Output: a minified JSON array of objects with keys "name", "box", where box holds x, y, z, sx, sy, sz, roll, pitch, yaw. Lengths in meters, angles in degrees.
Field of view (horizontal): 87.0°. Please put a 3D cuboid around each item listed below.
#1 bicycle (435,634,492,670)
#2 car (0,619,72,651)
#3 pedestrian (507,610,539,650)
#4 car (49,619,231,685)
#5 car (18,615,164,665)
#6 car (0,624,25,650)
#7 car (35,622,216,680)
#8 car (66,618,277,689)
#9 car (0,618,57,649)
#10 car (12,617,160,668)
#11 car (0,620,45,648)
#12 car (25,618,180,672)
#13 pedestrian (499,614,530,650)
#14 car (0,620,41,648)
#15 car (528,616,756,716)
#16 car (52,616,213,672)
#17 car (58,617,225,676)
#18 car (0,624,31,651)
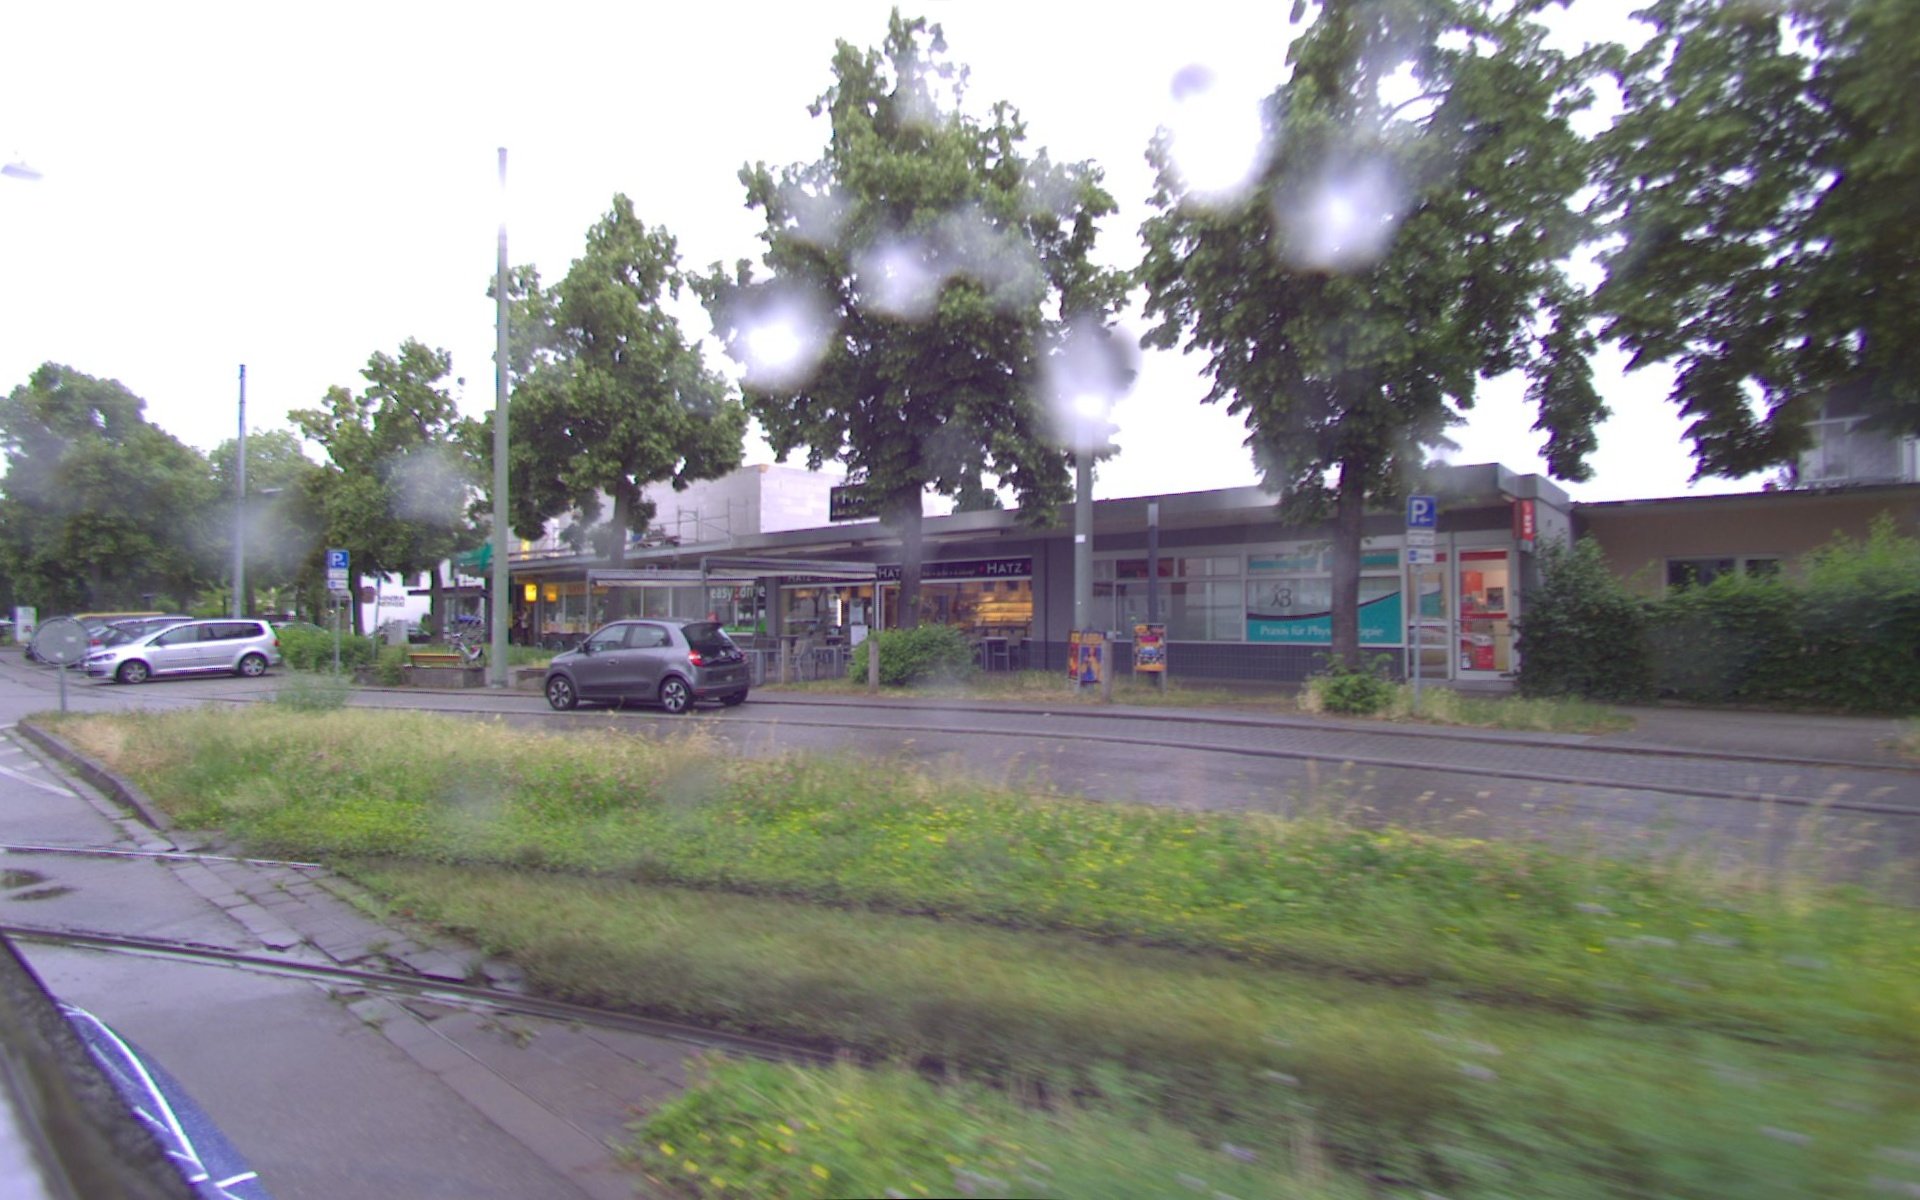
[{"name":"bicycle","box":[-15.158,1.582,30.892,1.741,1.080,0.589,-1,-2,25]},{"name":"car","box":[-59.886,2.225,64.687,1.898,1.958,4.487,-2,-1,41]},{"name":"pedestrian","box":[-19.228,1.304,44.515,1.062,1.727,0.950,1,-1,-37]},{"name":"car","box":[-23.901,1.460,29.592,1.793,1.686,3.894,-2,-1,41]},{"name":"car","box":[-36.954,1.663,43.136,1.898,1.958,4.487,-2,-1,41]},{"name":"car","box":[-75.115,2.911,77.882,1.898,1.958,4.487,-2,-1,41]},{"name":"car","box":[-25.740,1.524,31.308,1.999,1.583,4.036,-2,-1,41]},{"name":"car","box":[-21.615,1.405,27.877,1.999,1.686,4.279,-2,-1,41]},{"name":"car","box":[-62.956,2.215,67.026,1.898,1.958,4.487,-2,-1,41]},{"name":"car","box":[-34.954,1.650,40.555,1.898,1.823,4.247,-2,-1,41]},{"name":"car","box":[-67.515,2.418,71.164,1.898,1.958,4.487,-2,-1,41]},{"name":"car","box":[-30.885,1.576,36.536,1.898,1.722,4.036,-2,-1,41]},{"name":"pedestrian","box":[-20.022,1.410,45.507,1.062,1.596,0.950,1,-1,-37]},{"name":"car","box":[-69.735,2.474,73.301,1.898,1.958,4.487,-2,-1,41]},{"name":"car","box":[-5.412,1.078,17.197,3.602,1.515,1.539,-1,0,25]},{"name":"car","box":[-28.428,1.475,34.861,1.898,1.722,4.036,-2,-1,41]},{"name":"car","box":[-26.959,1.492,33.426,1.898,1.722,4.036,-2,-1,41]},{"name":"car","box":[-73.112,2.862,76.209,1.898,1.958,4.487,-2,-1,41]}]
